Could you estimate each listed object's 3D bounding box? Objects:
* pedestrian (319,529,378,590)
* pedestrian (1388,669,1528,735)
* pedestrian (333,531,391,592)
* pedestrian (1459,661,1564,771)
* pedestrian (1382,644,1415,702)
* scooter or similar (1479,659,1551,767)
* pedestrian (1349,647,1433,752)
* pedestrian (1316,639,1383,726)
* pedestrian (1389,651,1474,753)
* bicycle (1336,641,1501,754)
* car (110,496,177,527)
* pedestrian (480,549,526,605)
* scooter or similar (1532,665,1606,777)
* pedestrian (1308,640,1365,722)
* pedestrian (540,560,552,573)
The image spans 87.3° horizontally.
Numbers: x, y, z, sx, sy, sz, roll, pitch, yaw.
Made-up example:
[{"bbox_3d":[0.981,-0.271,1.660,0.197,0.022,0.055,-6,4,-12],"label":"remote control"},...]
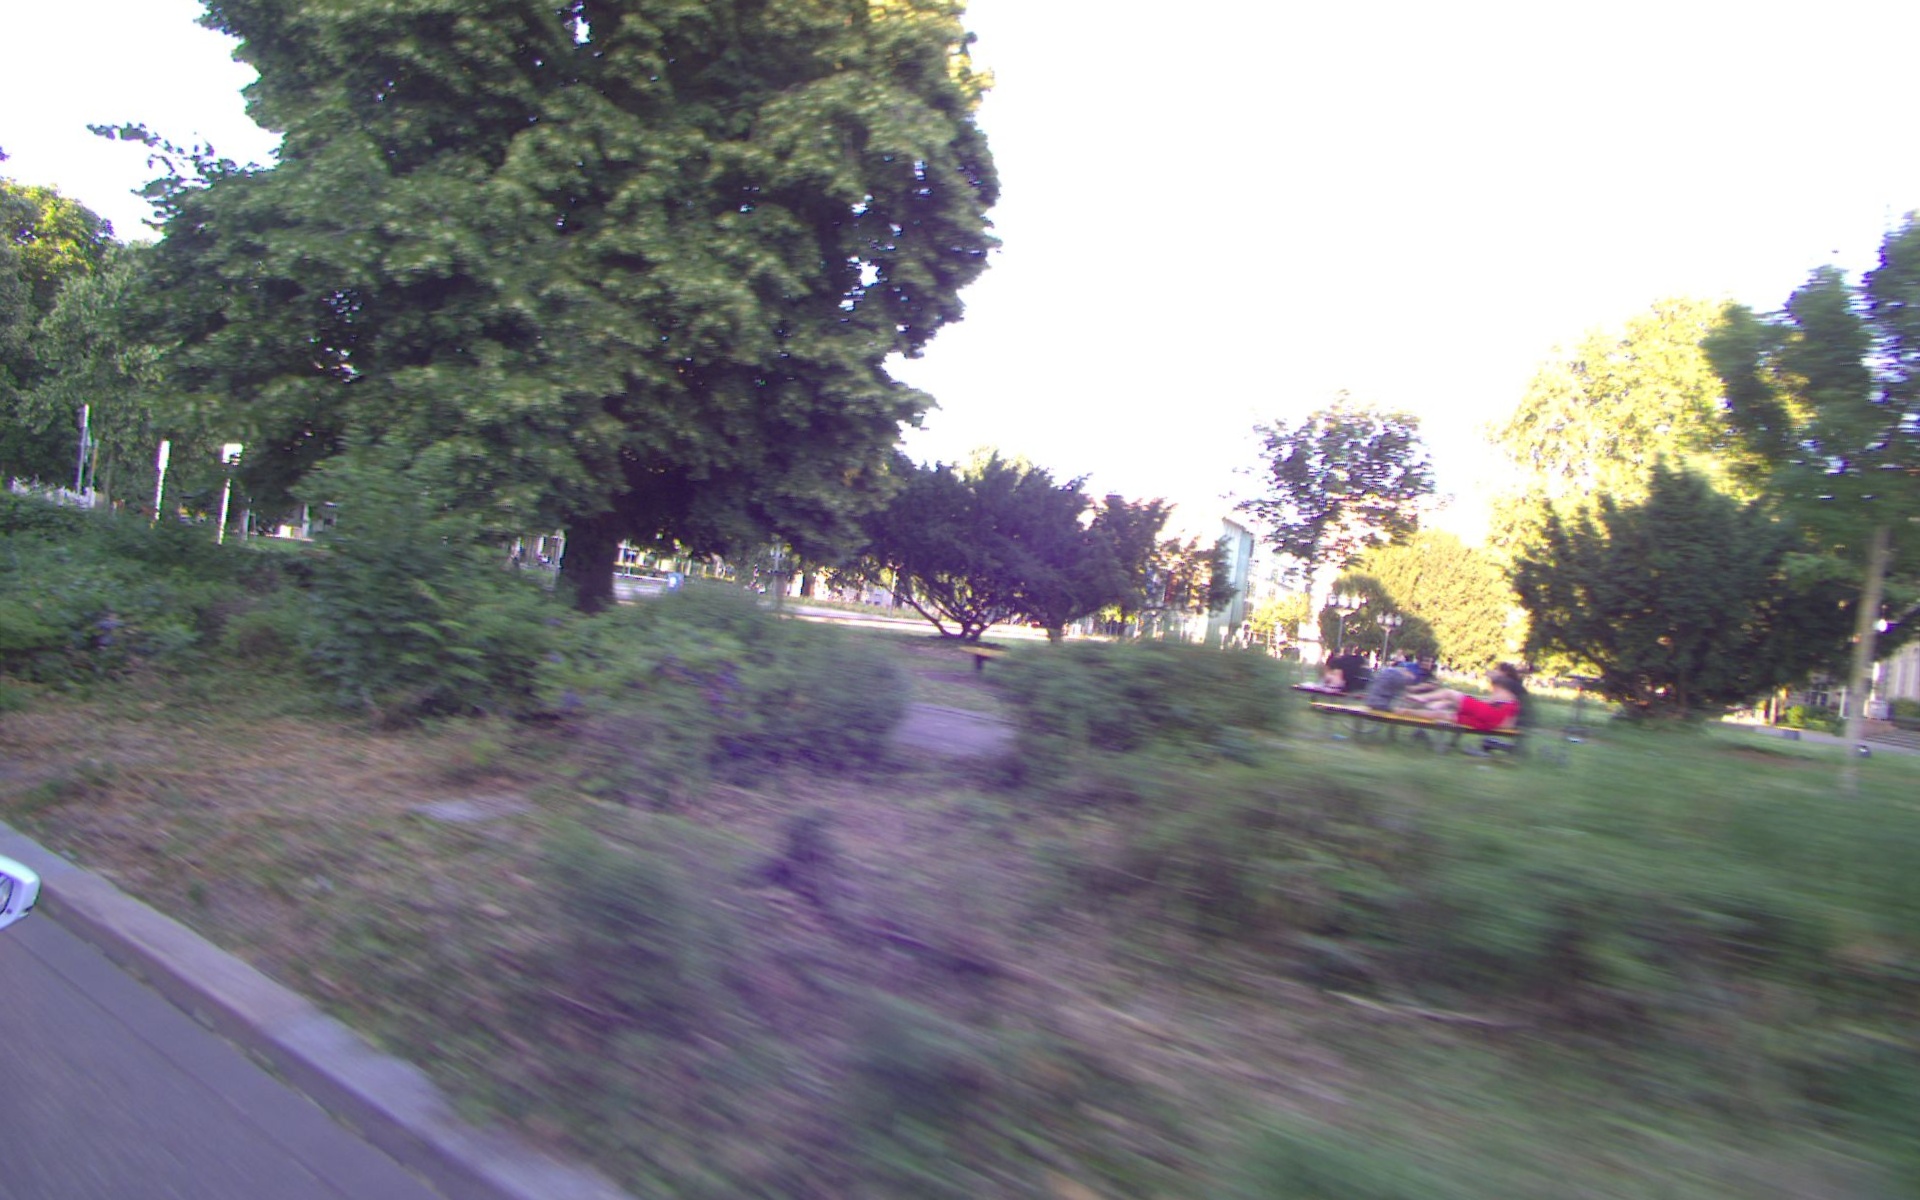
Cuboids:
[{"bbox_3d":[-13.765,-0.902,22.660,0.803,1.253,0.683,7,1,1],"label":"pedestrian"},{"bbox_3d":[5.936,1.213,12.048,1.351,0.557,0.541,6,3,12],"label":"pedestrian"},{"bbox_3d":[-13.850,-0.881,23.315,0.857,1.277,0.598,7,1,0],"label":"pedestrian"},{"bbox_3d":[6.751,1.410,12.324,0.657,1.207,0.789,6,1,-31],"label":"pedestrian"},{"bbox_3d":[14.274,2.370,32.727,0.745,1.769,0.772,7,1,28],"label":"pedestrian"},{"bbox_3d":[7.160,1.425,13.028,0.410,1.261,1.220,7,1,15],"label":"scooter or similar"},{"bbox_3d":[5.514,1.255,12.854,0.735,1.207,0.722,7,1,35],"label":"pedestrian"},{"bbox_3d":[6.743,1.402,17.465,0.868,1.364,0.920,7,1,16],"label":"pedestrian"},{"bbox_3d":[6.232,1.334,13.300,0.777,1.207,0.807,7,1,35],"label":"pedestrian"},{"bbox_3d":[6.570,1.363,14.474,1.983,1.316,0.620,7,1,27],"label":"bicycle"},{"bbox_3d":[-71.217,-7.732,87.774,1.967,2.038,4.035,7,0,33],"label":"car"},{"bbox_3d":[-11.994,-0.594,26.413,0.804,1.358,0.598,7,1,26],"label":"pedestrian"},{"bbox_3d":[7.591,1.480,12.576,0.410,1.261,1.220,7,1,19],"label":"scooter or similar"},{"bbox_3d":[6.852,1.454,18.343,0.773,1.364,0.761,7,1,15],"label":"pedestrian"},{"bbox_3d":[-31.803,-2.568,77.269,0.609,0.936,0.512,7,1,6],"label":"pedestrian"}]
